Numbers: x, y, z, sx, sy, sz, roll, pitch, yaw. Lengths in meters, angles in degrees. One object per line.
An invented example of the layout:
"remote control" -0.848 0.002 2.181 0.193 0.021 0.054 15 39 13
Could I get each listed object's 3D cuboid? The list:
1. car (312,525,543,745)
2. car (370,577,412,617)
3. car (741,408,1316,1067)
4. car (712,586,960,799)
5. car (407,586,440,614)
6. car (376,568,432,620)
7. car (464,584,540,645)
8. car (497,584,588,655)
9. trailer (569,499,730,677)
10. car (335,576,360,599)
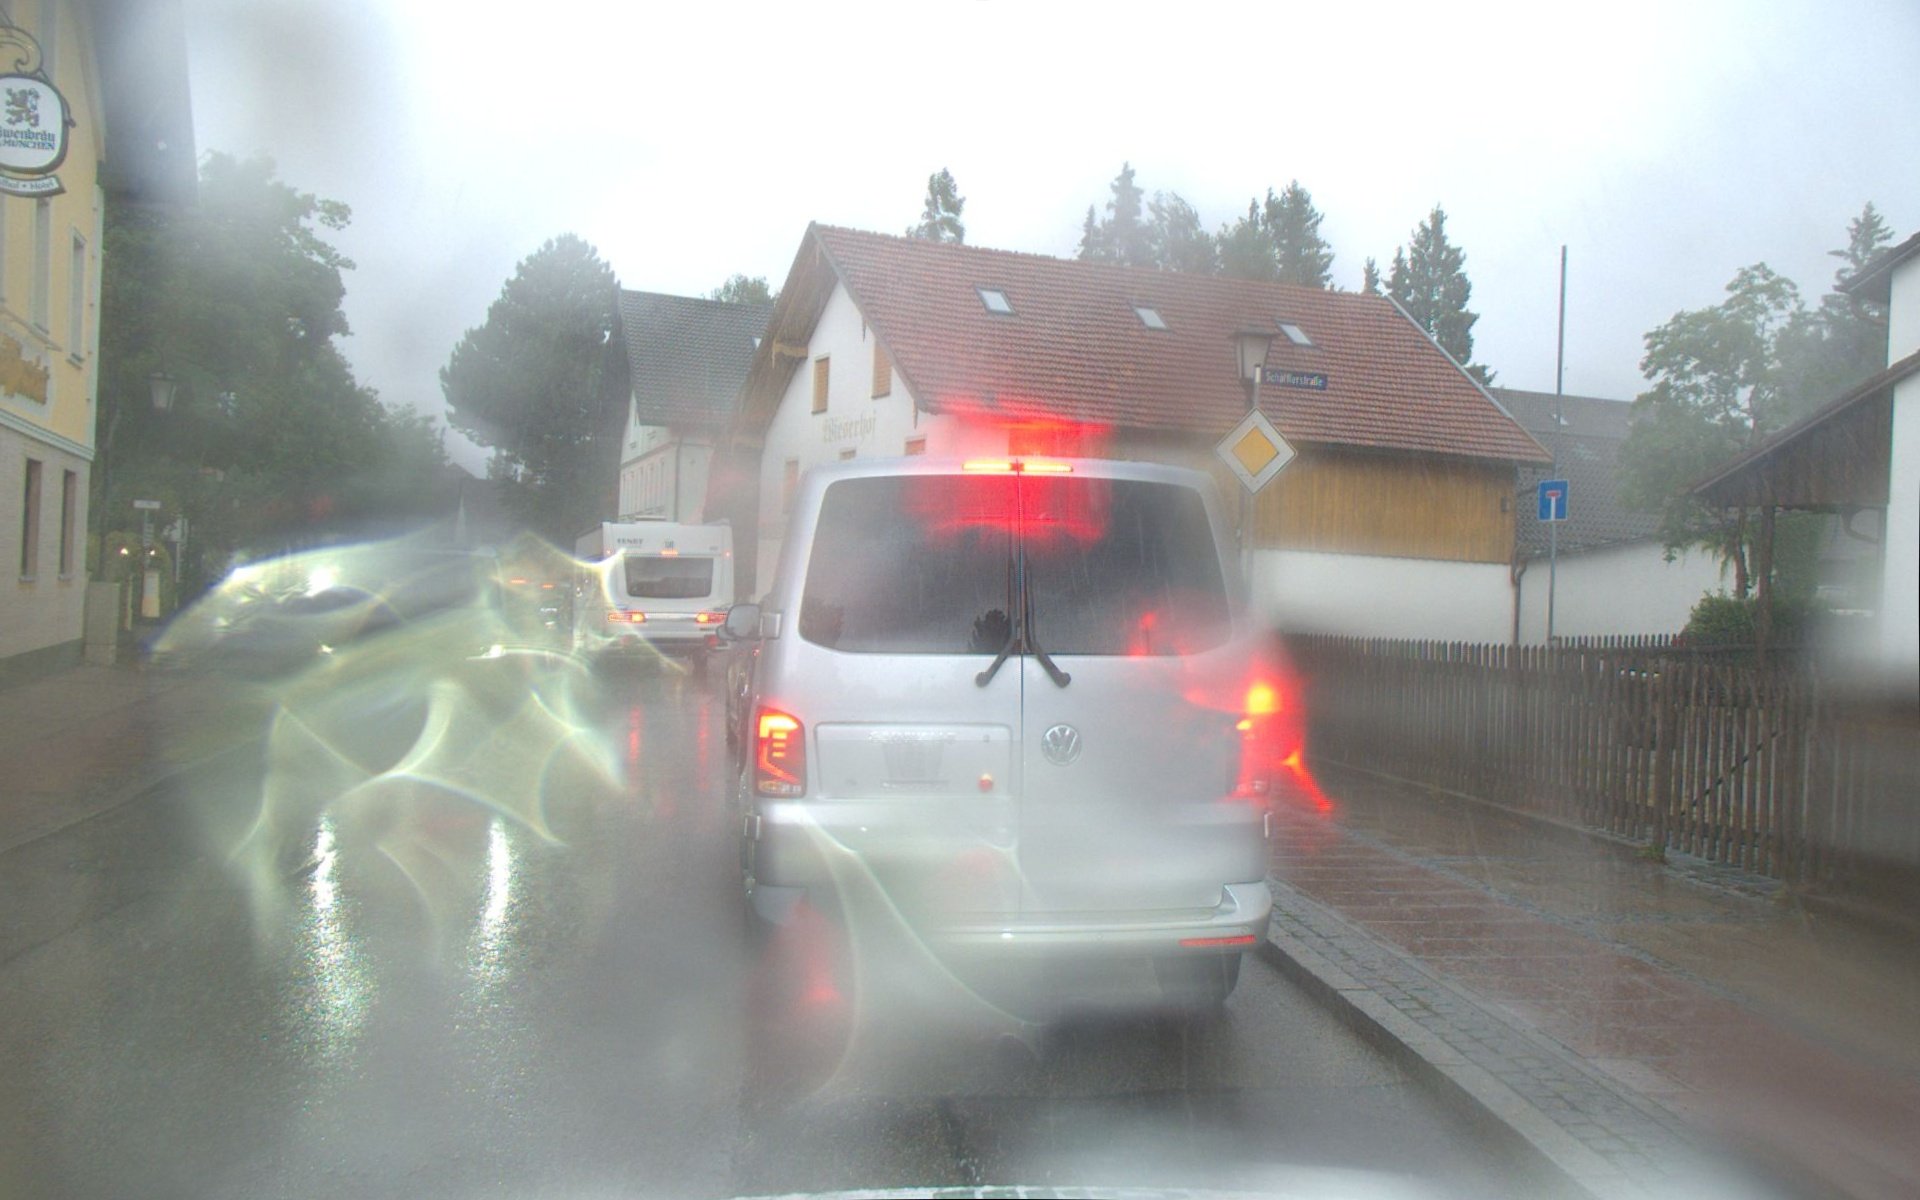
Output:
"car" -5.480 0.332 17.568 1.818 2.006 4.688 0 0 -12
"car" -27.272 -0.161 79.314 1.834 1.788 4.458 -2 1 -19
"car" 0.167 0.423 7.571 1.740 1.997 5.073 0 0 -1
"car" -1.314 0.705 15.434 1.678 1.611 4.671 -1 1 -12
"car" -41.166 -0.012 126.834 2.137 1.932 4.984 2 1 -20
"car" -20.629 -0.236 61.358 1.834 1.788 4.458 -2 1 -19
"car" -16.425 0.475 59.176 2.137 1.932 4.984 2 1 -20
"car" -12.956 0.560 51.125 2.137 1.932 4.984 2 1 -20
"trailer" -5.880 -0.194 30.687 2.235 2.955 6.103 1 0 -17
"car" -50.273 -1.033 135.810 1.835 1.788 4.457 -2 1 -20
